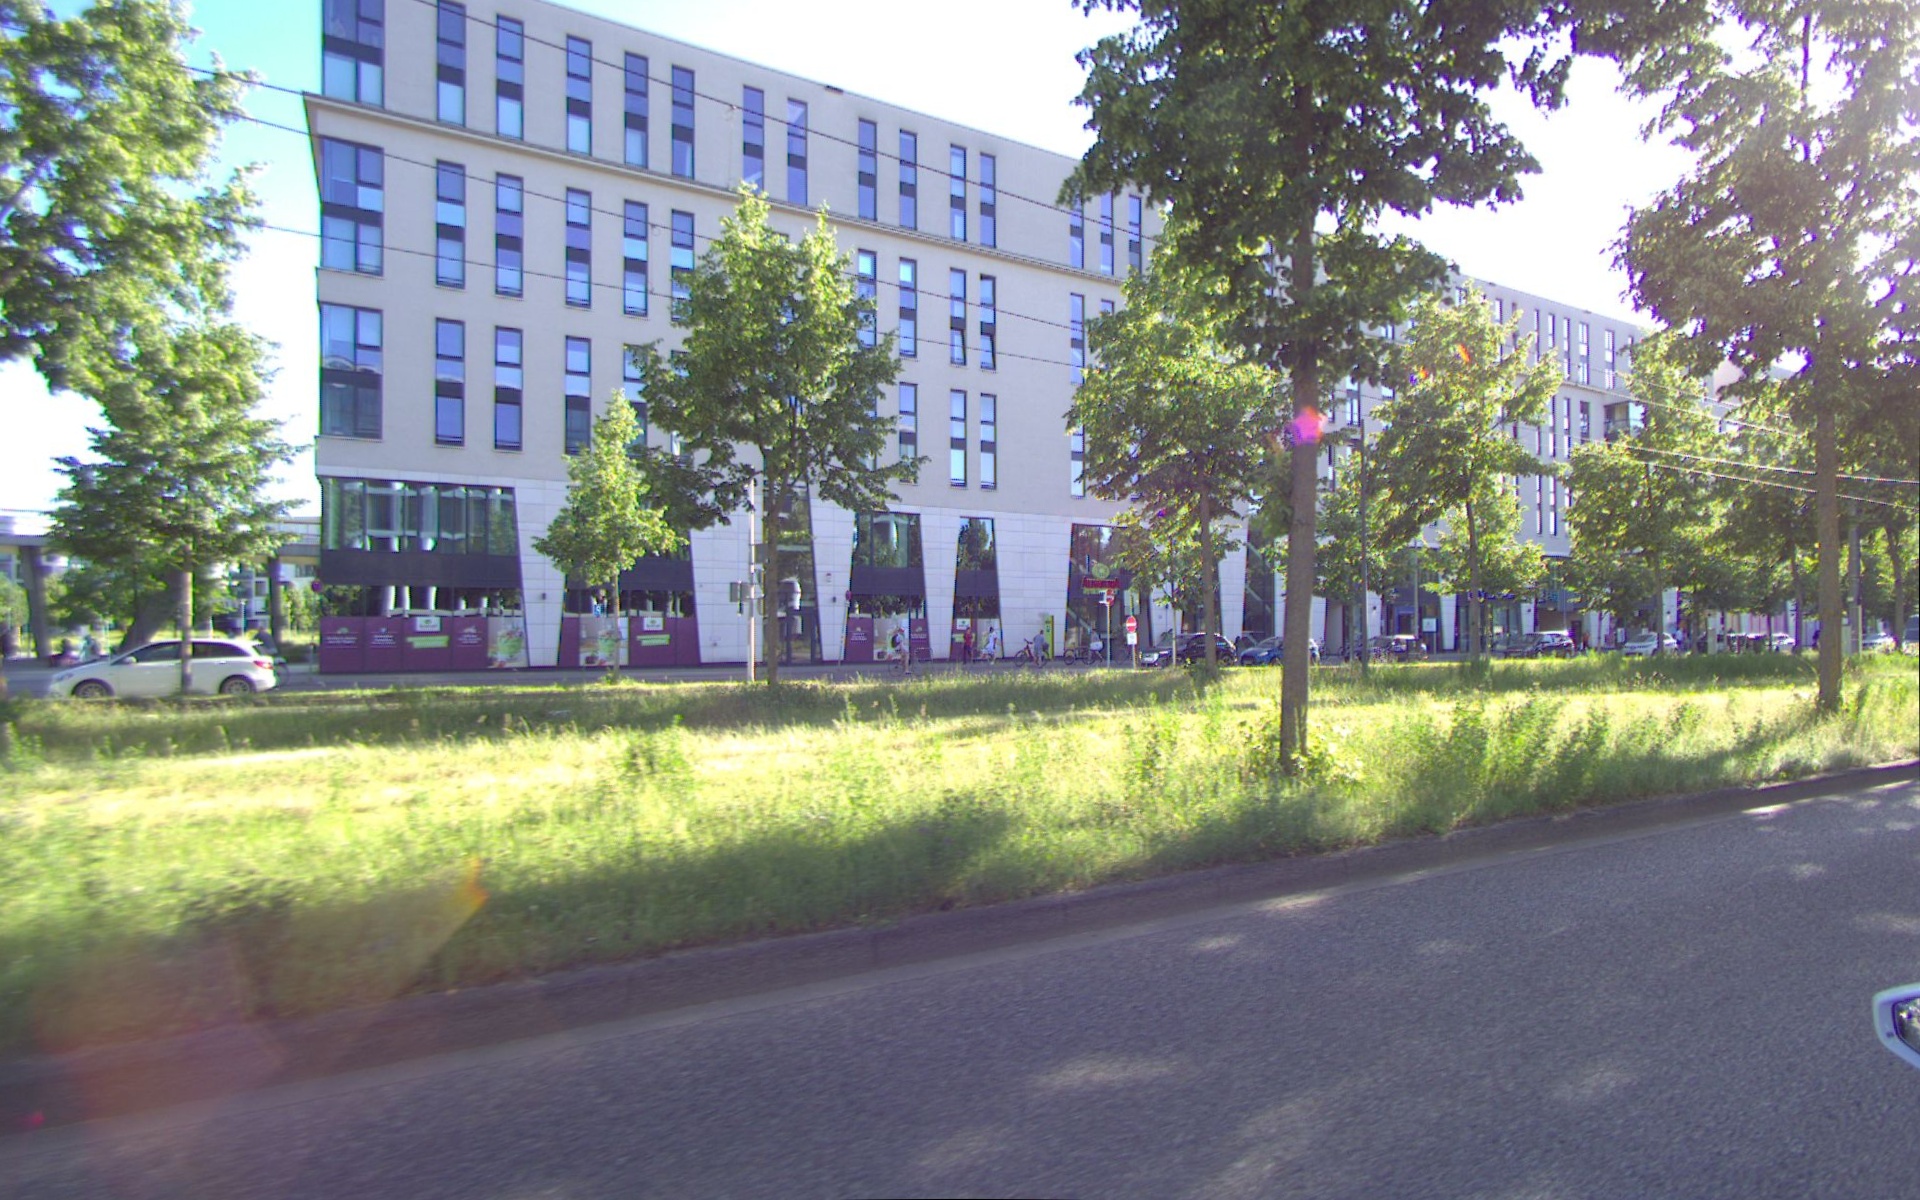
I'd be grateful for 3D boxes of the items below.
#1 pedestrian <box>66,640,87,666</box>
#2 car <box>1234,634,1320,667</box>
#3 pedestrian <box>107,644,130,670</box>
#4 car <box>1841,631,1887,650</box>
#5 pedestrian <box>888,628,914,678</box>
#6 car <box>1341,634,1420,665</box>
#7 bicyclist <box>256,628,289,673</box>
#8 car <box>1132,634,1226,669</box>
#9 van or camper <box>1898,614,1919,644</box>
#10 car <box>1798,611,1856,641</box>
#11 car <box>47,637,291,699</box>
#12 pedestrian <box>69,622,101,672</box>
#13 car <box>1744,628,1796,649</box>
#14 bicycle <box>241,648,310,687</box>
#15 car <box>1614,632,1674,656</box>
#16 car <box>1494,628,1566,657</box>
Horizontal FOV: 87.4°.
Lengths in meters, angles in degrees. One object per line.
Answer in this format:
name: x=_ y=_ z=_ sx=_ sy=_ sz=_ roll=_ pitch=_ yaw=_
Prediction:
pedestrian: x=-38.537 y=2.307 z=43.806 sx=0.592 sy=1.140 sz=0.437 roll=1 pitch=-1 yaw=-28
car: x=13.789 y=2.168 z=43.642 sx=3.669 sy=1.360 sz=1.572 roll=1 pitch=-2 yaw=-31
pedestrian: x=-31.745 y=2.142 z=37.891 sx=0.589 sy=0.932 sz=0.433 roll=0 pitch=-1 yaw=24
car: x=69.396 y=3.097 z=77.098 sx=3.669 sy=1.360 sz=1.572 roll=1 pitch=-2 yaw=-31
pedestrian: x=-2.218 y=1.987 z=37.984 sx=0.792 sy=1.836 sz=0.575 roll=1 pitch=-1 yaw=-34
car: x=19.809 y=2.299 z=47.270 sx=3.669 sy=1.360 sz=1.572 roll=1 pitch=-2 yaw=-31
bicyclist: x=-20.580 y=1.506 z=30.070 sx=0.695 sy=1.310 sz=0.576 roll=1 pitch=-1 yaw=-24
car: x=8.905 y=2.062 z=40.770 sx=3.669 sy=1.360 sz=1.572 roll=1 pitch=-2 yaw=-31
van or camper: x=57.192 y=1.714 z=59.249 sx=3.669 sy=1.761 sz=1.812 roll=1 pitch=-2 yaw=-31
car: x=60.144 y=1.796 z=69.708 sx=3.956 sy=2.040 sz=1.983 roll=1 pitch=-1 yaw=-32
car: x=-18.861 y=1.578 z=24.244 sx=4.420 sy=1.360 sz=1.572 roll=1 pitch=-2 yaw=-31
pedestrian: x=-32.360 y=1.722 z=37.146 sx=0.589 sy=1.795 sz=0.672 roll=0 pitch=-1 yaw=24
car: x=54.821 y=2.610 z=67.970 sx=3.669 sy=1.360 sz=1.572 roll=1 pitch=-2 yaw=-31
bicycle: x=-20.502 y=2.012 z=30.097 sx=1.615 sy=1.125 sz=0.527 roll=1 pitch=-1 yaw=-25
car: x=40.884 y=2.606 z=60.040 sx=3.669 sy=1.360 sz=1.572 roll=1 pitch=-2 yaw=-31
car: x=30.532 y=2.250 z=53.773 sx=3.762 sy=1.548 sz=1.767 roll=1 pitch=-2 yaw=-31
